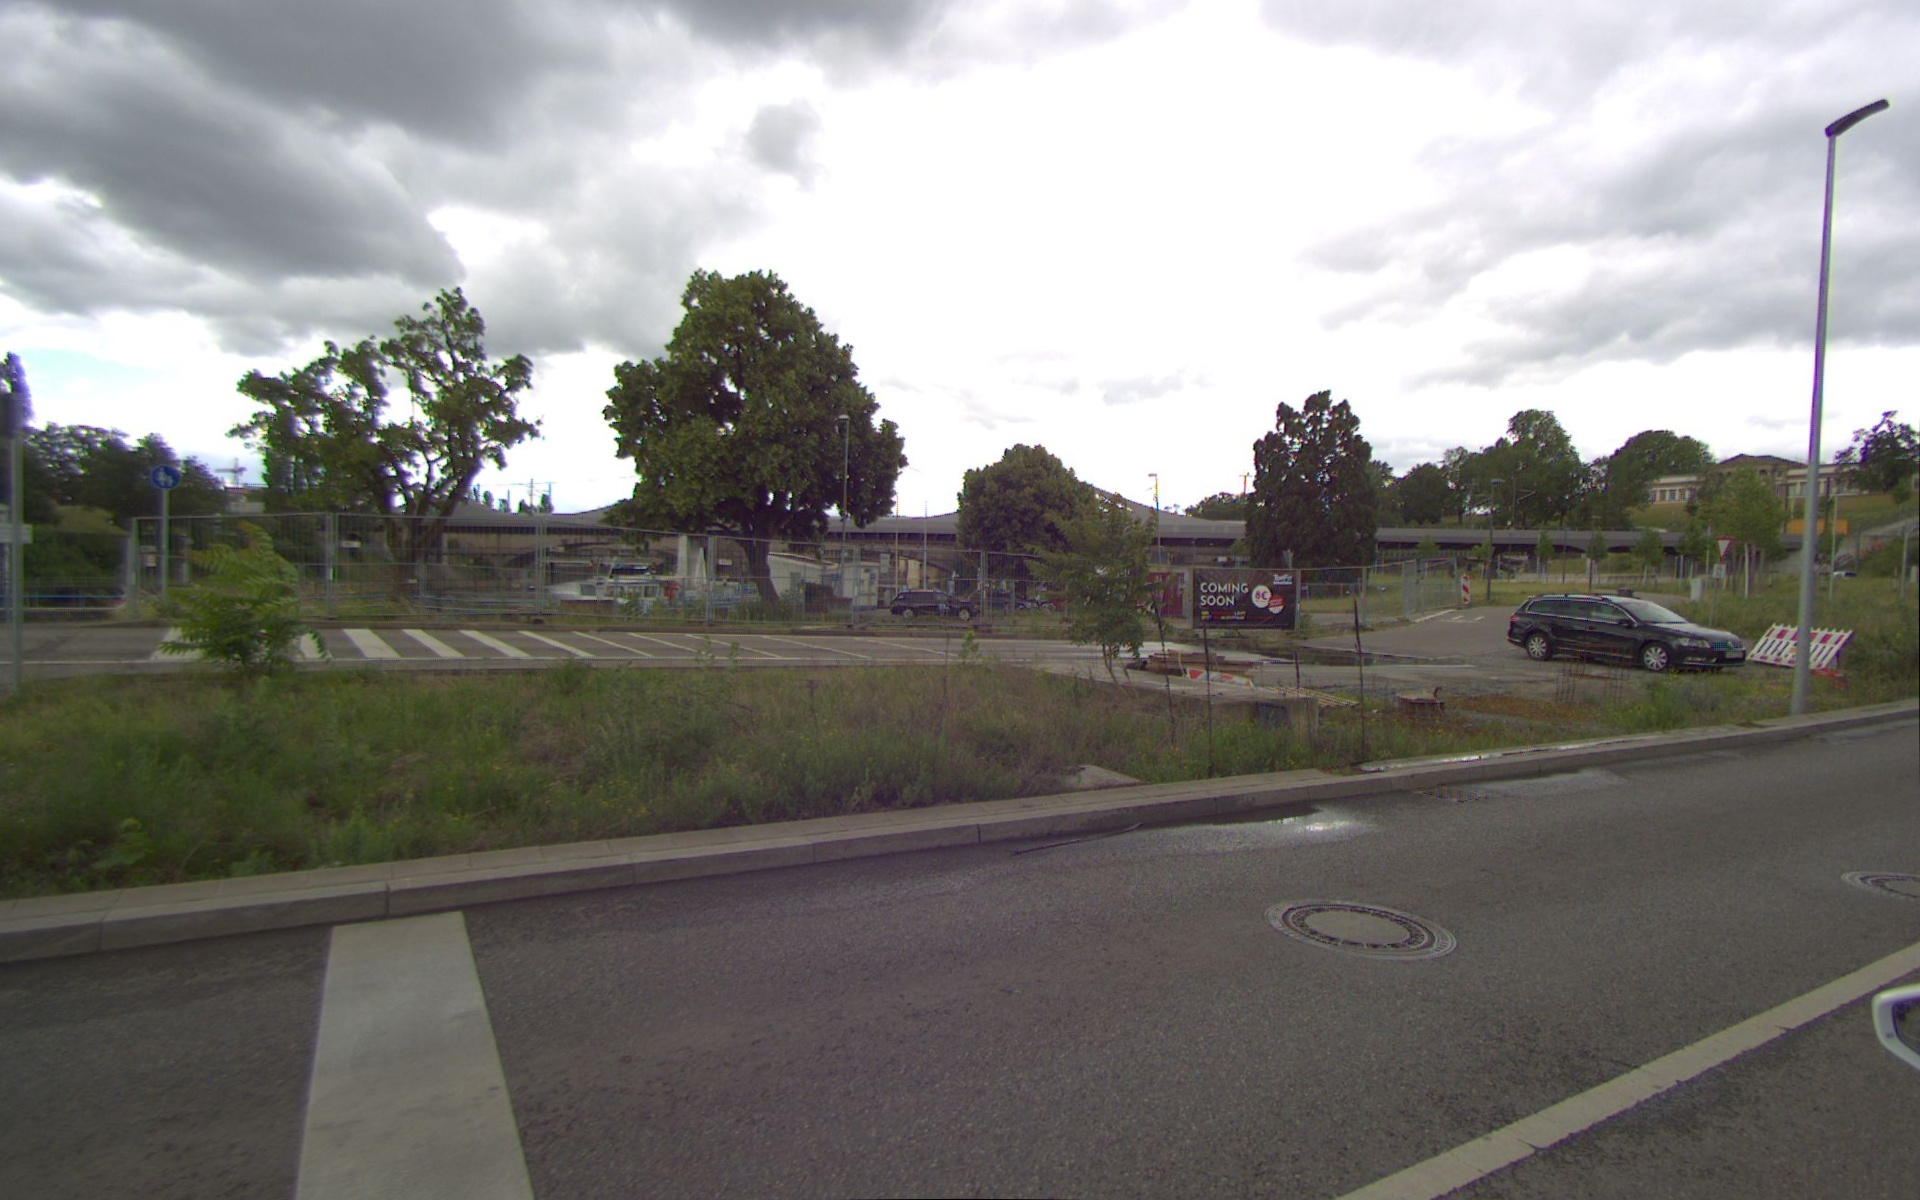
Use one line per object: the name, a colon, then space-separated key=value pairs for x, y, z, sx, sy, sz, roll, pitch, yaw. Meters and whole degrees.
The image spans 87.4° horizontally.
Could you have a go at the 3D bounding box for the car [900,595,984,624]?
car: x=-0.835 y=0.447 z=48.718 sx=3.842 sy=1.309 sz=1.805 roll=1 pitch=1 yaw=6

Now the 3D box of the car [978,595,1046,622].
car: x=2.765 y=0.414 z=53.011 sx=3.436 sy=1.309 sz=1.603 roll=1 pitch=1 yaw=9

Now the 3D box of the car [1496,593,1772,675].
car: x=14.307 y=0.636 z=21.705 sx=1.970 sy=1.497 sz=4.702 roll=0 pitch=1 yaw=-20
